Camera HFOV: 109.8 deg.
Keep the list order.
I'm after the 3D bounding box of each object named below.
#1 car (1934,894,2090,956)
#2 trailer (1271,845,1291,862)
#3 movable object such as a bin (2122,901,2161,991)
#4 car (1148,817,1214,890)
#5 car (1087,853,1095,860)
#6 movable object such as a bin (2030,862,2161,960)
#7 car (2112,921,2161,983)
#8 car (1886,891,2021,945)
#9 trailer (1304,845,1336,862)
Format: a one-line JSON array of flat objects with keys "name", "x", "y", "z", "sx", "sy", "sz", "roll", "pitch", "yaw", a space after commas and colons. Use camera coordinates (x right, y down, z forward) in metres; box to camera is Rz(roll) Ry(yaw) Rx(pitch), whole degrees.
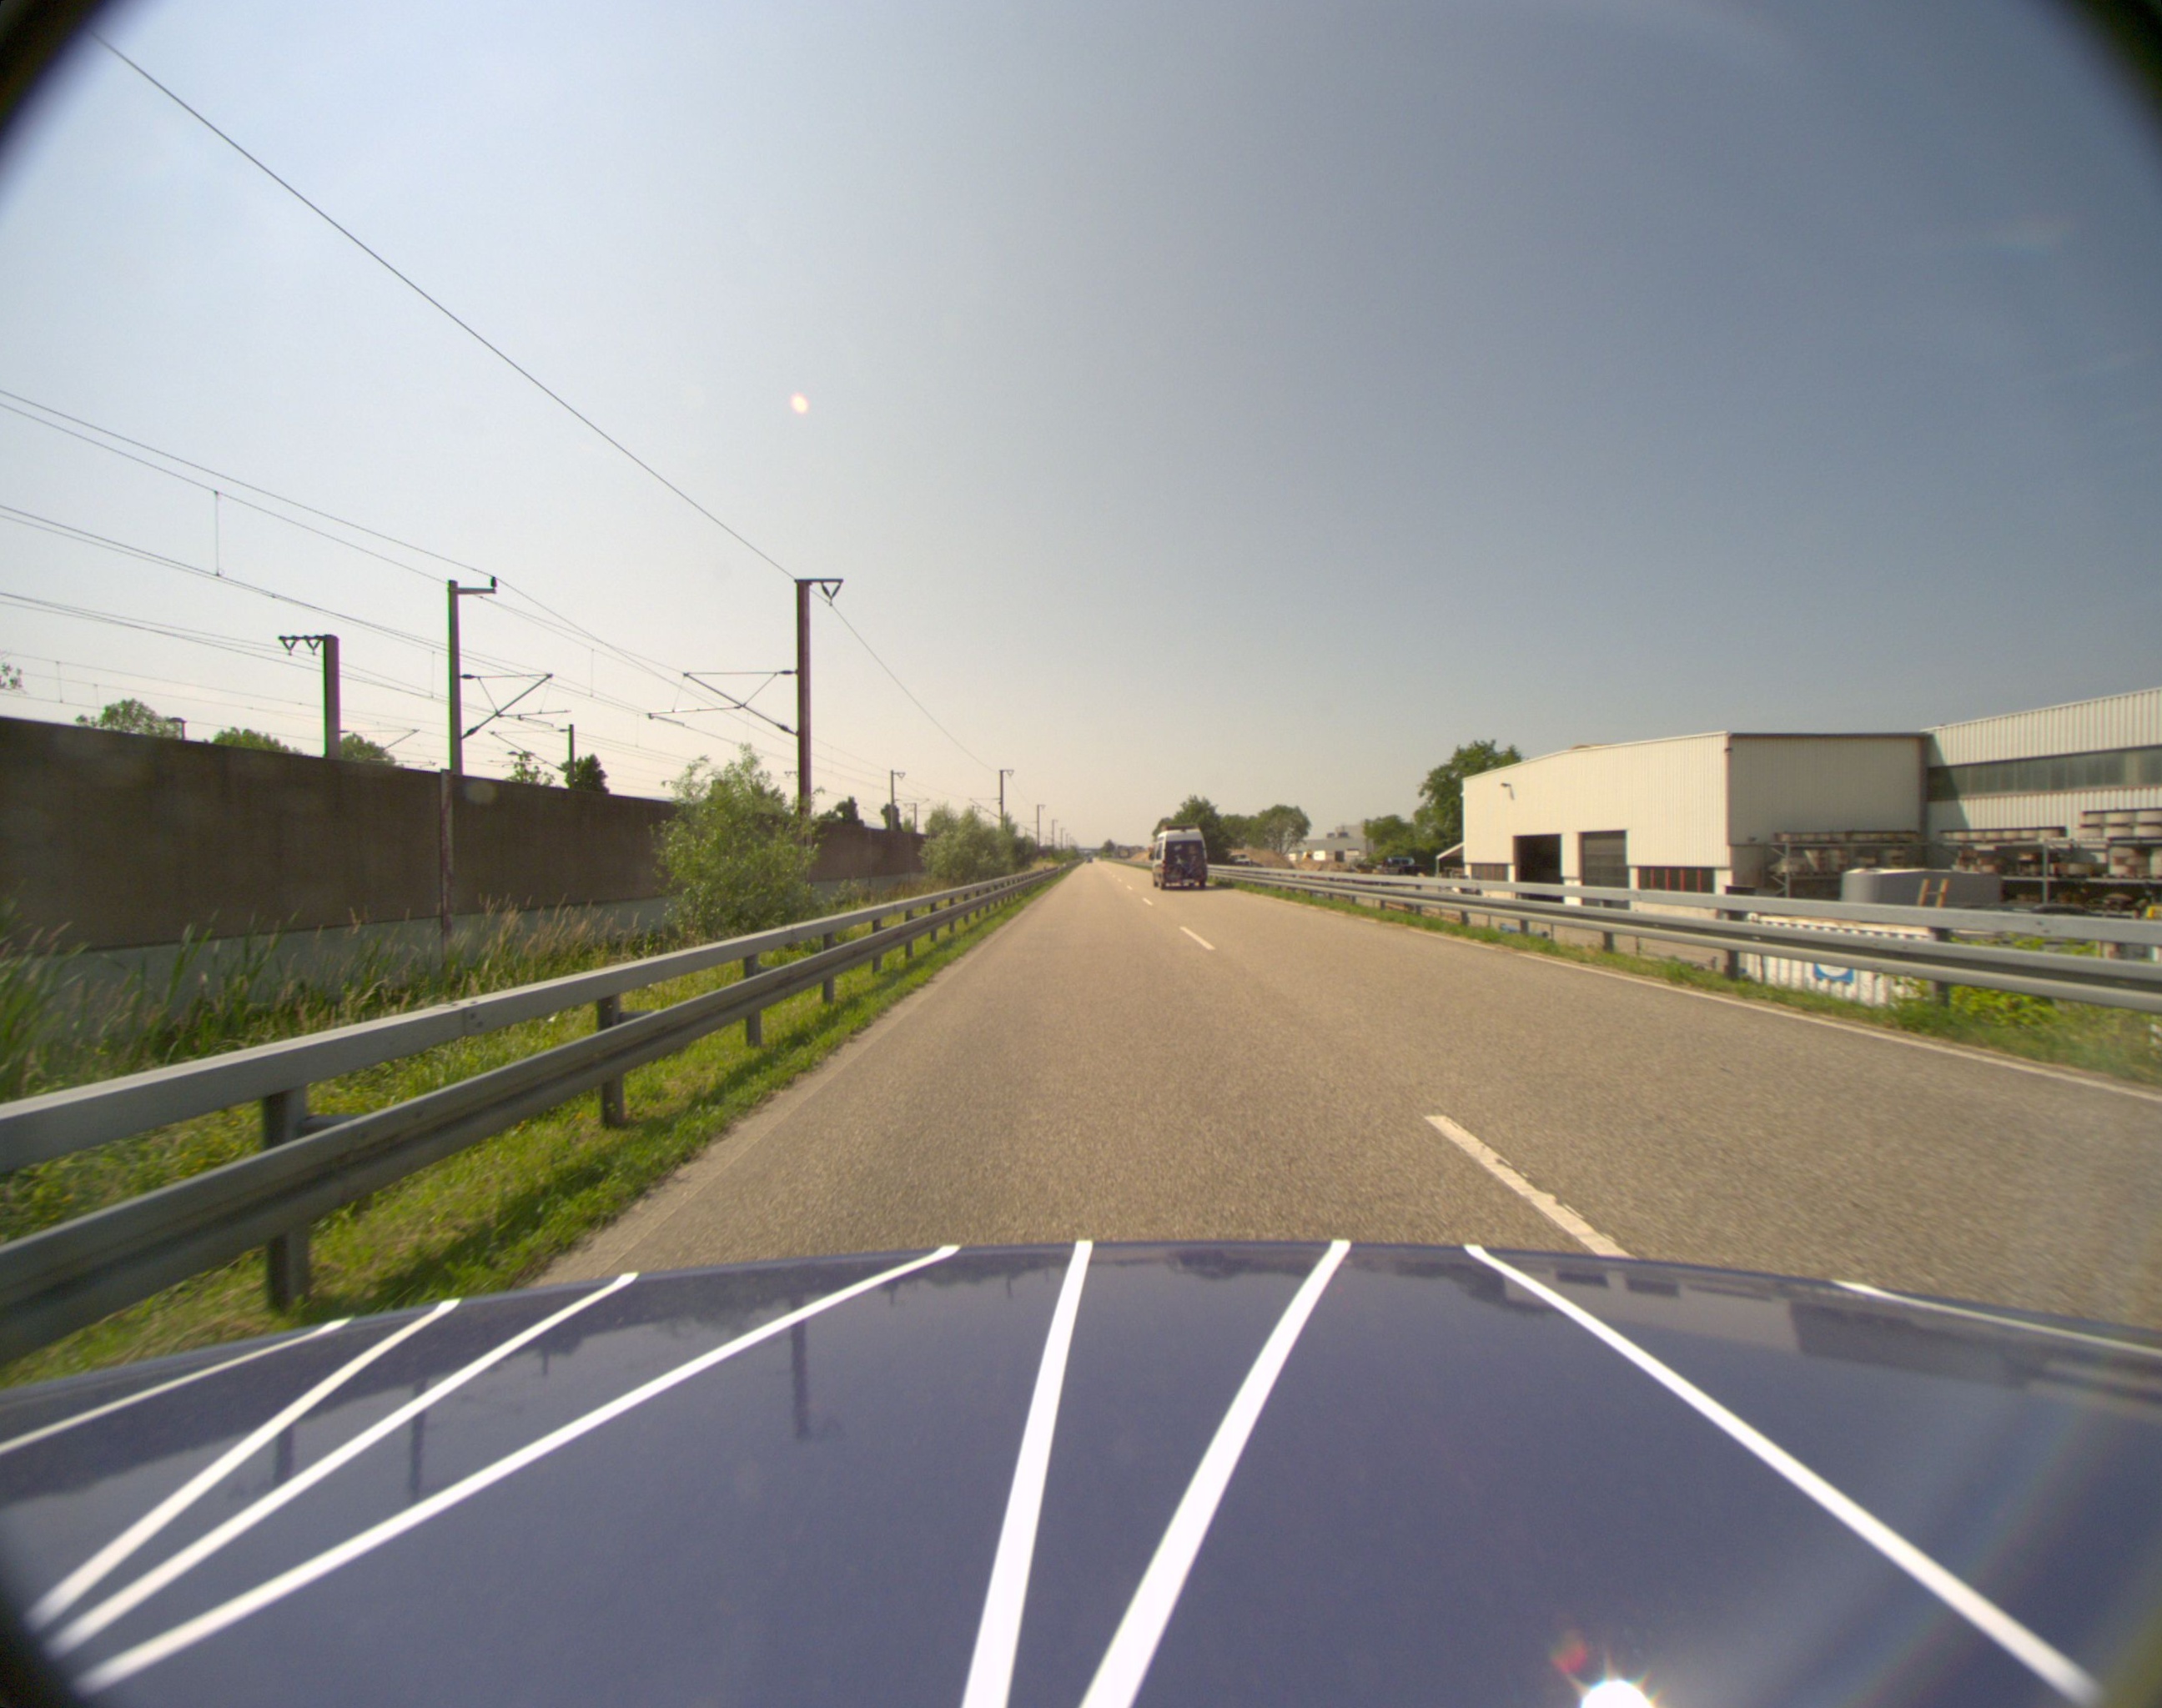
[{"name": "car", "x": 30.761, "y": 2.314, "z": 25.162, "sx": 3.139, "sy": 1.763, "sz": 1.675, "roll": 2, "pitch": 0, "yaw": -3}, {"name": "trailer", "x": 51.255, "y": -0.034, "z": 194.715, "sx": 2.862, "sy": 4.194, "sz": 7.538, "roll": -2, "pitch": -1, "yaw": -2}, {"name": "movable object such as a bin", "x": 26.951, "y": 2.091, "z": 17.471, "sx": 3.874, "sy": 2.002, "sz": 1.851, "roll": -2, "pitch": 1, "yaw": -6}, {"name": "car", "x": 4.467, "y": -0.015, "z": 34.989, "sx": 2.084, "sy": 2.945, "sz": 6.729, "roll": -3, "pitch": 0, "yaw": 1}, {"name": "car", "x": 2.710, "y": 0.660, "z": 207.026, "sx": 1.999, "sy": 2.002, "sz": 3.999, "roll": -2, "pitch": 0, "yaw": -1}, {"name": "movable object such as a bin", "x": 31.598, "y": 1.706, "z": 22.552, "sx": 4.557, "sy": 2.665, "sz": 2.132, "roll": 3, "pitch": 1, "yaw": -7}, {"name": "car", "x": 29.974, "y": 2.647, "z": 19.847, "sx": 3.999, "sy": 1.512, "sz": 1.724, "roll": 2, "pitch": 0, "yaw": -5}, {"name": "car", "x": 31.422, "y": 2.288, "z": 27.402, "sx": 3.263, "sy": 1.665, "sz": 1.466, "roll": 3, "pitch": 0, "yaw": -4}, {"name": "trailer", "x": 62.762, "y": -0.004, "z": 199.818, "sx": 2.704, "sy": 4.235, "sz": 15.581, "roll": -1, "pitch": -1, "yaw": -3}]
